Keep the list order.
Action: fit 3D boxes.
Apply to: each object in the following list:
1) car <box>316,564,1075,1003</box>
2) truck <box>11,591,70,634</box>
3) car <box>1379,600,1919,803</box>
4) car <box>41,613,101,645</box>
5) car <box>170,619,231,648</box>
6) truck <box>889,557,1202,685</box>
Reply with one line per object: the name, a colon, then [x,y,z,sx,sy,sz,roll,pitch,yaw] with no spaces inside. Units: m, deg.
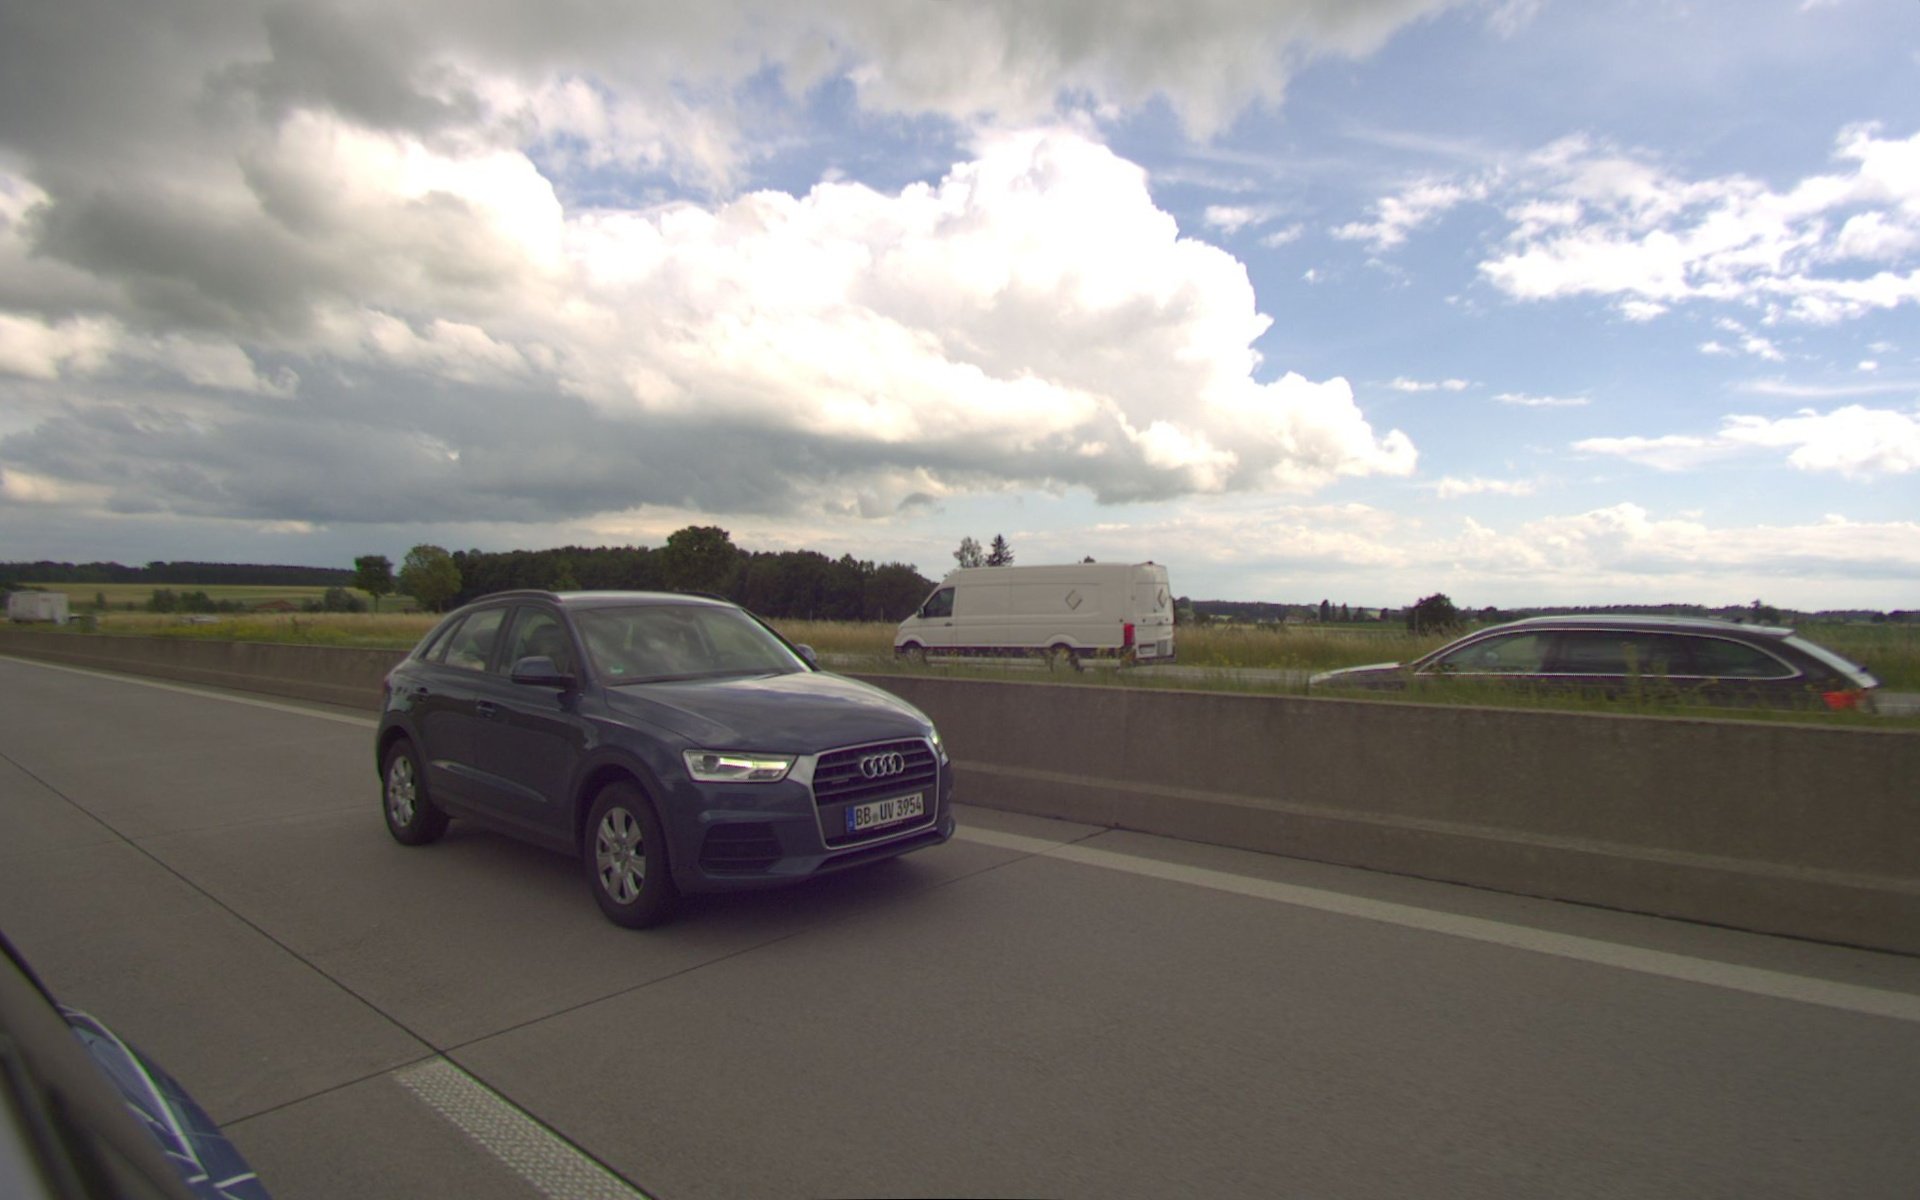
car: [-1.961,0.700,6.071,5.153,1.608,1.774,-1,0,40]
truck: [-97.710,1.226,107.403,14.556,4.287,2.812,0,0,40]
car: [6.163,0.760,9.013,4.221,1.471,1.557,-1,-1,41]
car: [-51.817,1.679,58.972,4.928,1.795,1.973,-1,-1,41]
car: [-41.266,1.809,54.984,3.998,1.475,1.837,-1,-1,41]
truck: [1.743,0.414,23.592,7.444,2.586,2.122,0,0,41]
